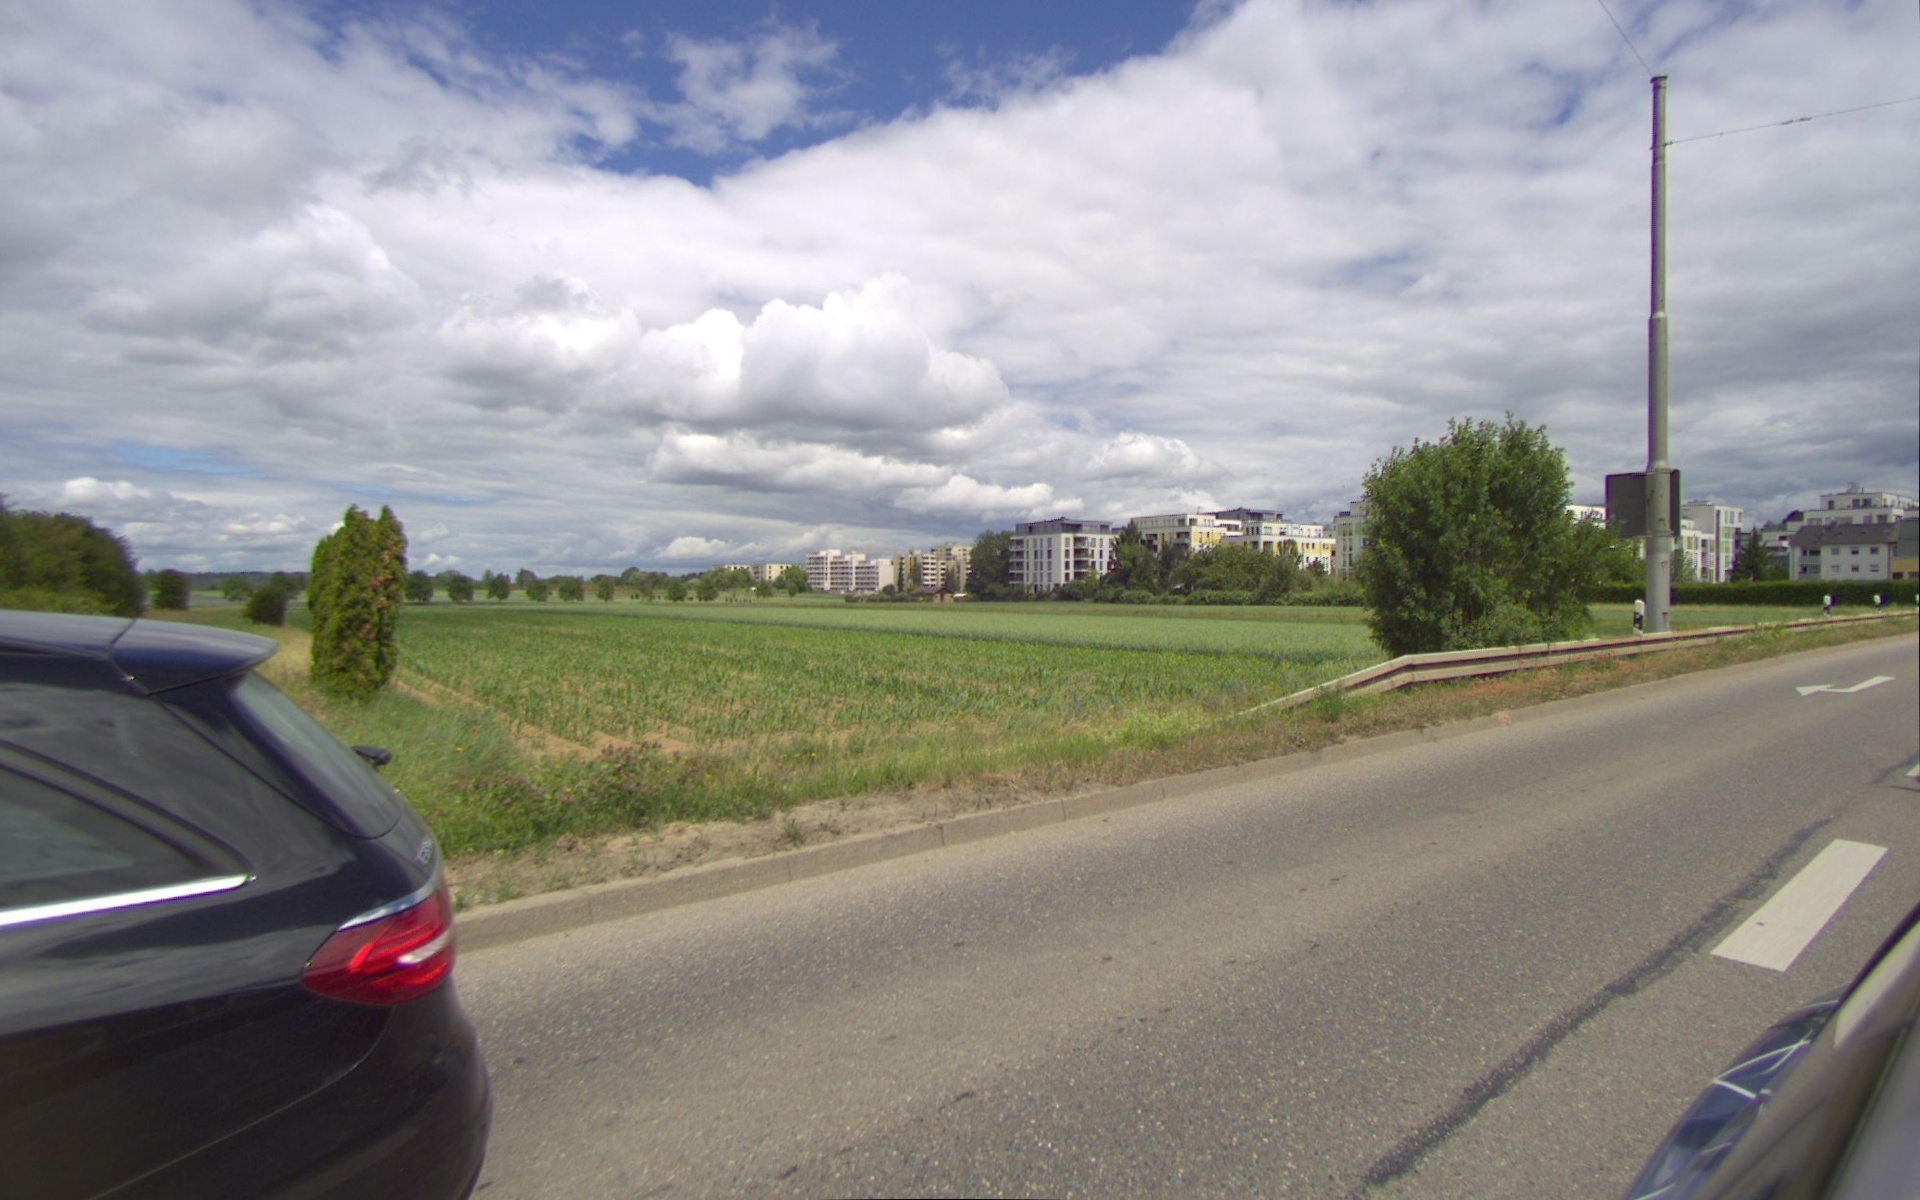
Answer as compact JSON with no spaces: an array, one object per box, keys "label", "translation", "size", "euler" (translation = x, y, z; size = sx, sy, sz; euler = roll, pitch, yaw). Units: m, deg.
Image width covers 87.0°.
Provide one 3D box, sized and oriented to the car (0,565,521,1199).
[{"label":"car","translation":[-3.107,0.680,0.792],"size":[4.721,1.557,1.841],"euler":[2,0,-41]}]
